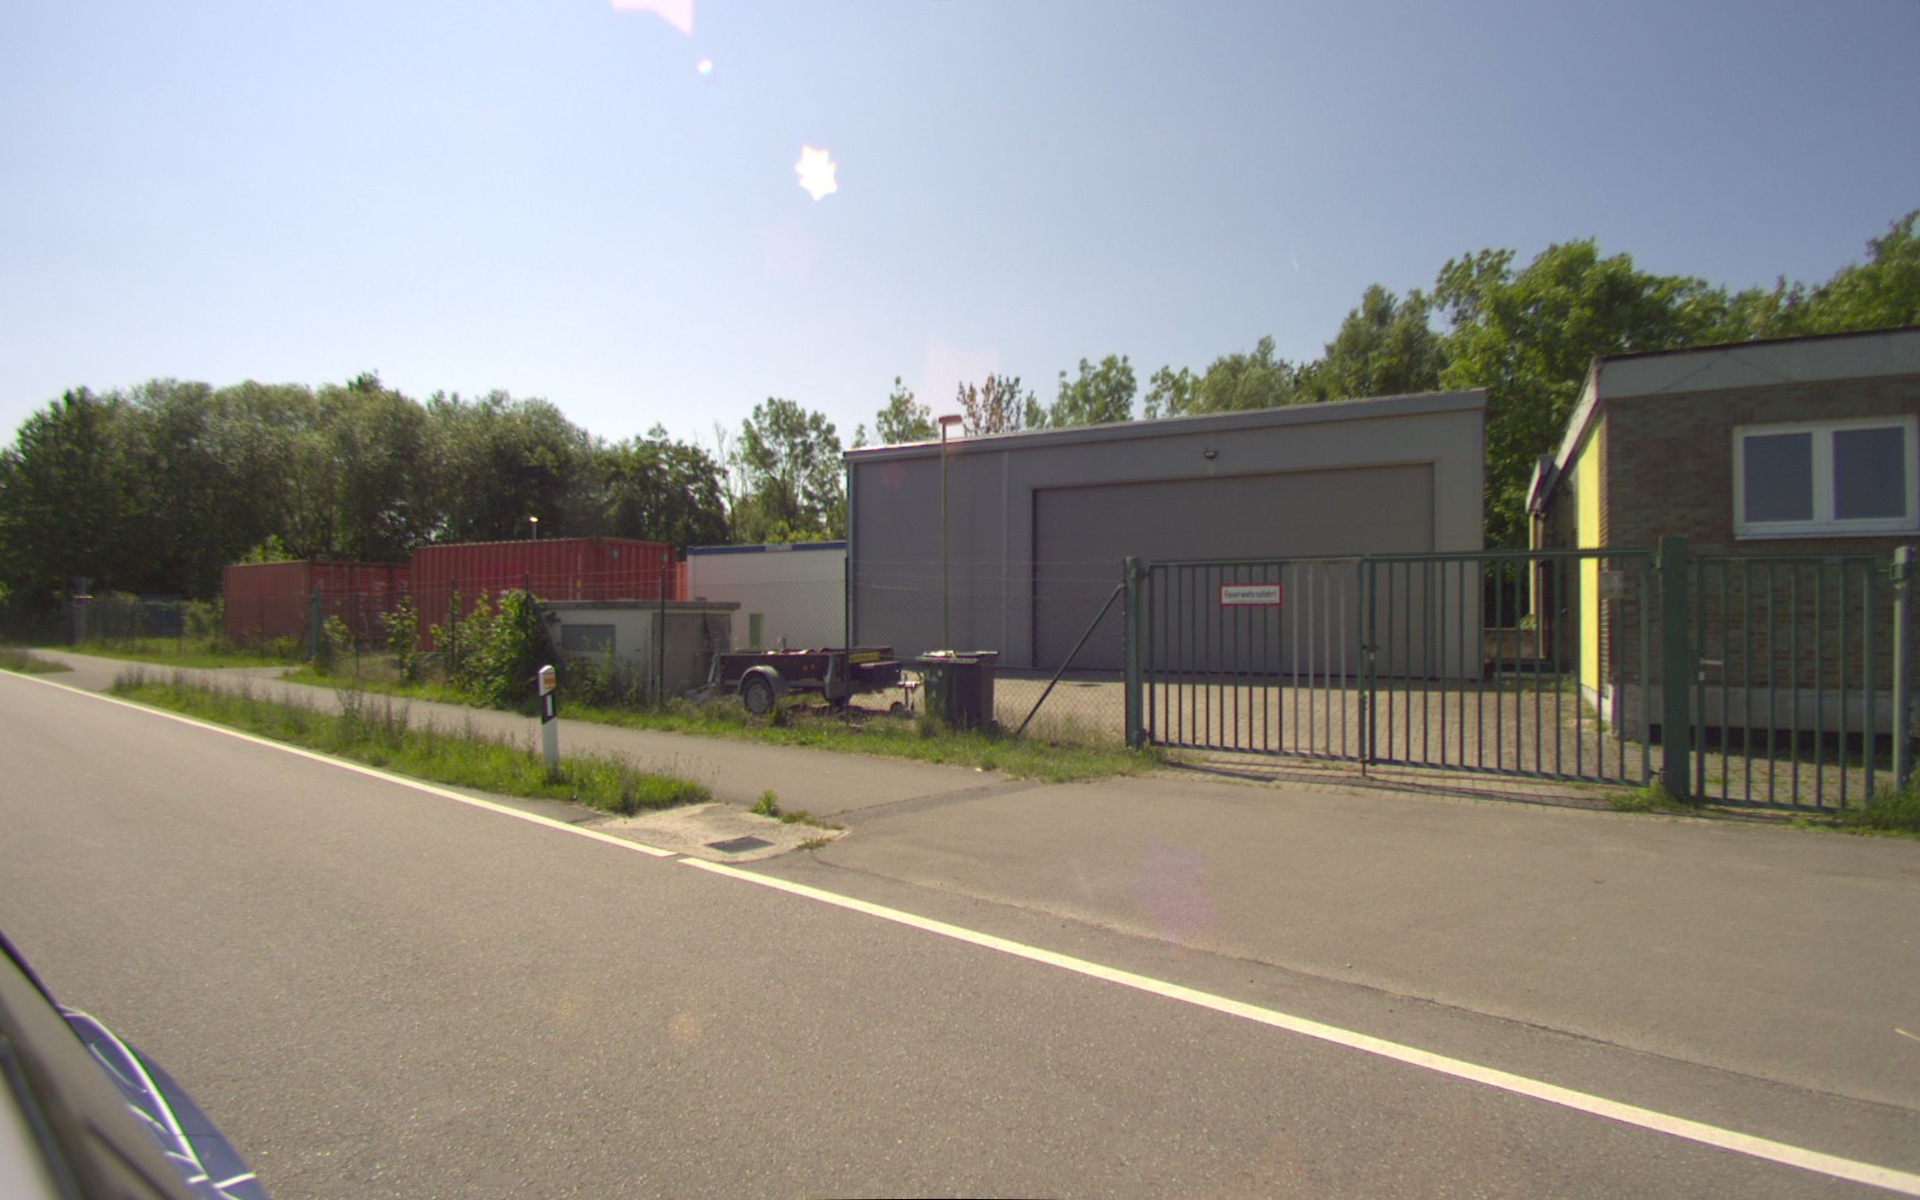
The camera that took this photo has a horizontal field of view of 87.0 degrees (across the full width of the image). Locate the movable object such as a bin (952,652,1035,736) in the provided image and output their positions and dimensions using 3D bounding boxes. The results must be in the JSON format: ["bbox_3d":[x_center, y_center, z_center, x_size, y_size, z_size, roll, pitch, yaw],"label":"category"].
[{"bbox_3d":[0.364,1.003,11.027,0.631,0.861,0.654,2,-3,-43],"label":"movable object such as a bin"}]

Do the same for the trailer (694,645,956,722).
[{"bbox_3d":[-1.872,1.076,13.800,3.350,0.873,1.617,-1,-2,35],"label":"trailer"}]

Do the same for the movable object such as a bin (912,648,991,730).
[{"bbox_3d":[-0.099,0.993,11.529,0.631,0.882,0.654,2,-3,-43],"label":"movable object such as a bin"}]
